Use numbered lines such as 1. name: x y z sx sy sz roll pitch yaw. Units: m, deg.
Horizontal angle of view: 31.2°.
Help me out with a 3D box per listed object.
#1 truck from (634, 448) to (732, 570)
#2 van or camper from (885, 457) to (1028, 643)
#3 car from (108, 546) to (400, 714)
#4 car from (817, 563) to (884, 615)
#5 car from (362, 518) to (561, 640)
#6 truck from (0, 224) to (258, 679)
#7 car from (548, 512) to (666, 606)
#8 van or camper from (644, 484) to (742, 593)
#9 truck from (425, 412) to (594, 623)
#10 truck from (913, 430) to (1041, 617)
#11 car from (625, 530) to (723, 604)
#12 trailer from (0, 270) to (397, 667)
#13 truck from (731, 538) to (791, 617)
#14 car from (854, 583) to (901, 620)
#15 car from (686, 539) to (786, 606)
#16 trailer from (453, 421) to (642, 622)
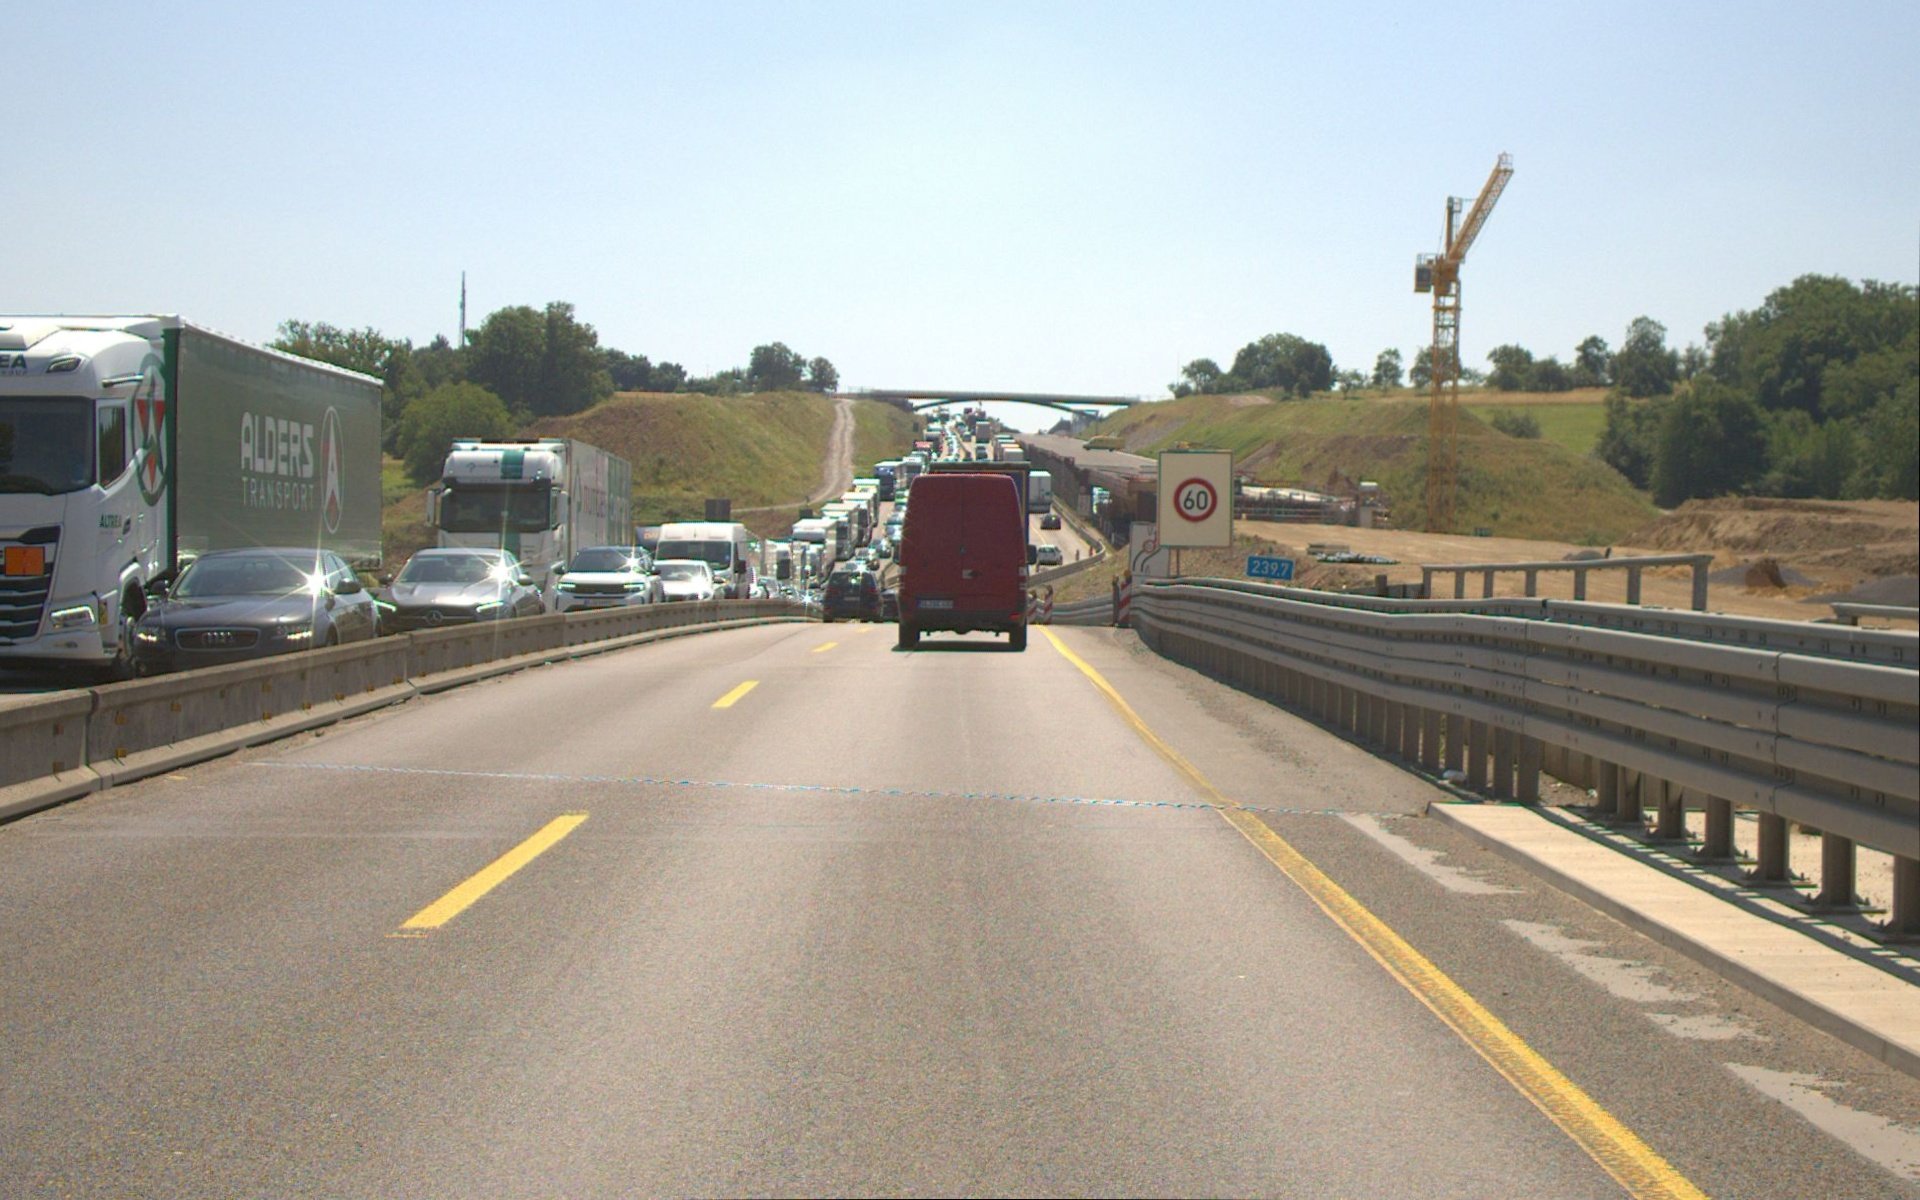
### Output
1. truck: -9.932 -3.239 124.067 2.802 4.138 10.080 2 1 -1
2. van or camper: -0.100 -0.780 53.198 2.029 2.735 4.516 1 1 -2
3. car: -6.633 0.229 32.757 1.777 1.415 4.538 2 1 0
4. car: -3.386 -0.354 106.503 2.012 1.540 4.133 1 1 -2
5. car: -6.489 -0.304 45.230 1.865 1.454 4.607 2 1 0
6. truck: -10.031 -1.545 37.758 3.078 4.521 7.103 1 1 1
7. car: -6.559 -0.780 64.229 1.756 1.641 4.156 2 1 -1
8. van or camper: -6.547 -1.523 84.832 2.218 2.503 6.534 2 1 -4
9. truck: -9.721 -1.774 74.787 2.806 4.377 6.225 0 1 0
10. truck: 0.382 -2.002 90.437 3.020 4.677 6.933 -1 1 -2
11. car: -6.172 -0.743 74.424 1.993 1.493 4.976 2 1 -4
12. trailer: -10.049 -1.592 45.077 3.102 4.449 13.020 0 1 0
13. truck: -10.733 -1.198 184.861 2.976 4.170 5.875 1 0 -5
14. car: -3.691 0.048 154.225 2.012 1.539 4.133 2 1 -1
15. car: -6.344 -0.812 97.911 2.371 1.720 5.781 3 1 0
16. trailer: -9.684 -1.727 82.207 2.815 4.415 13.168 0 0 0
